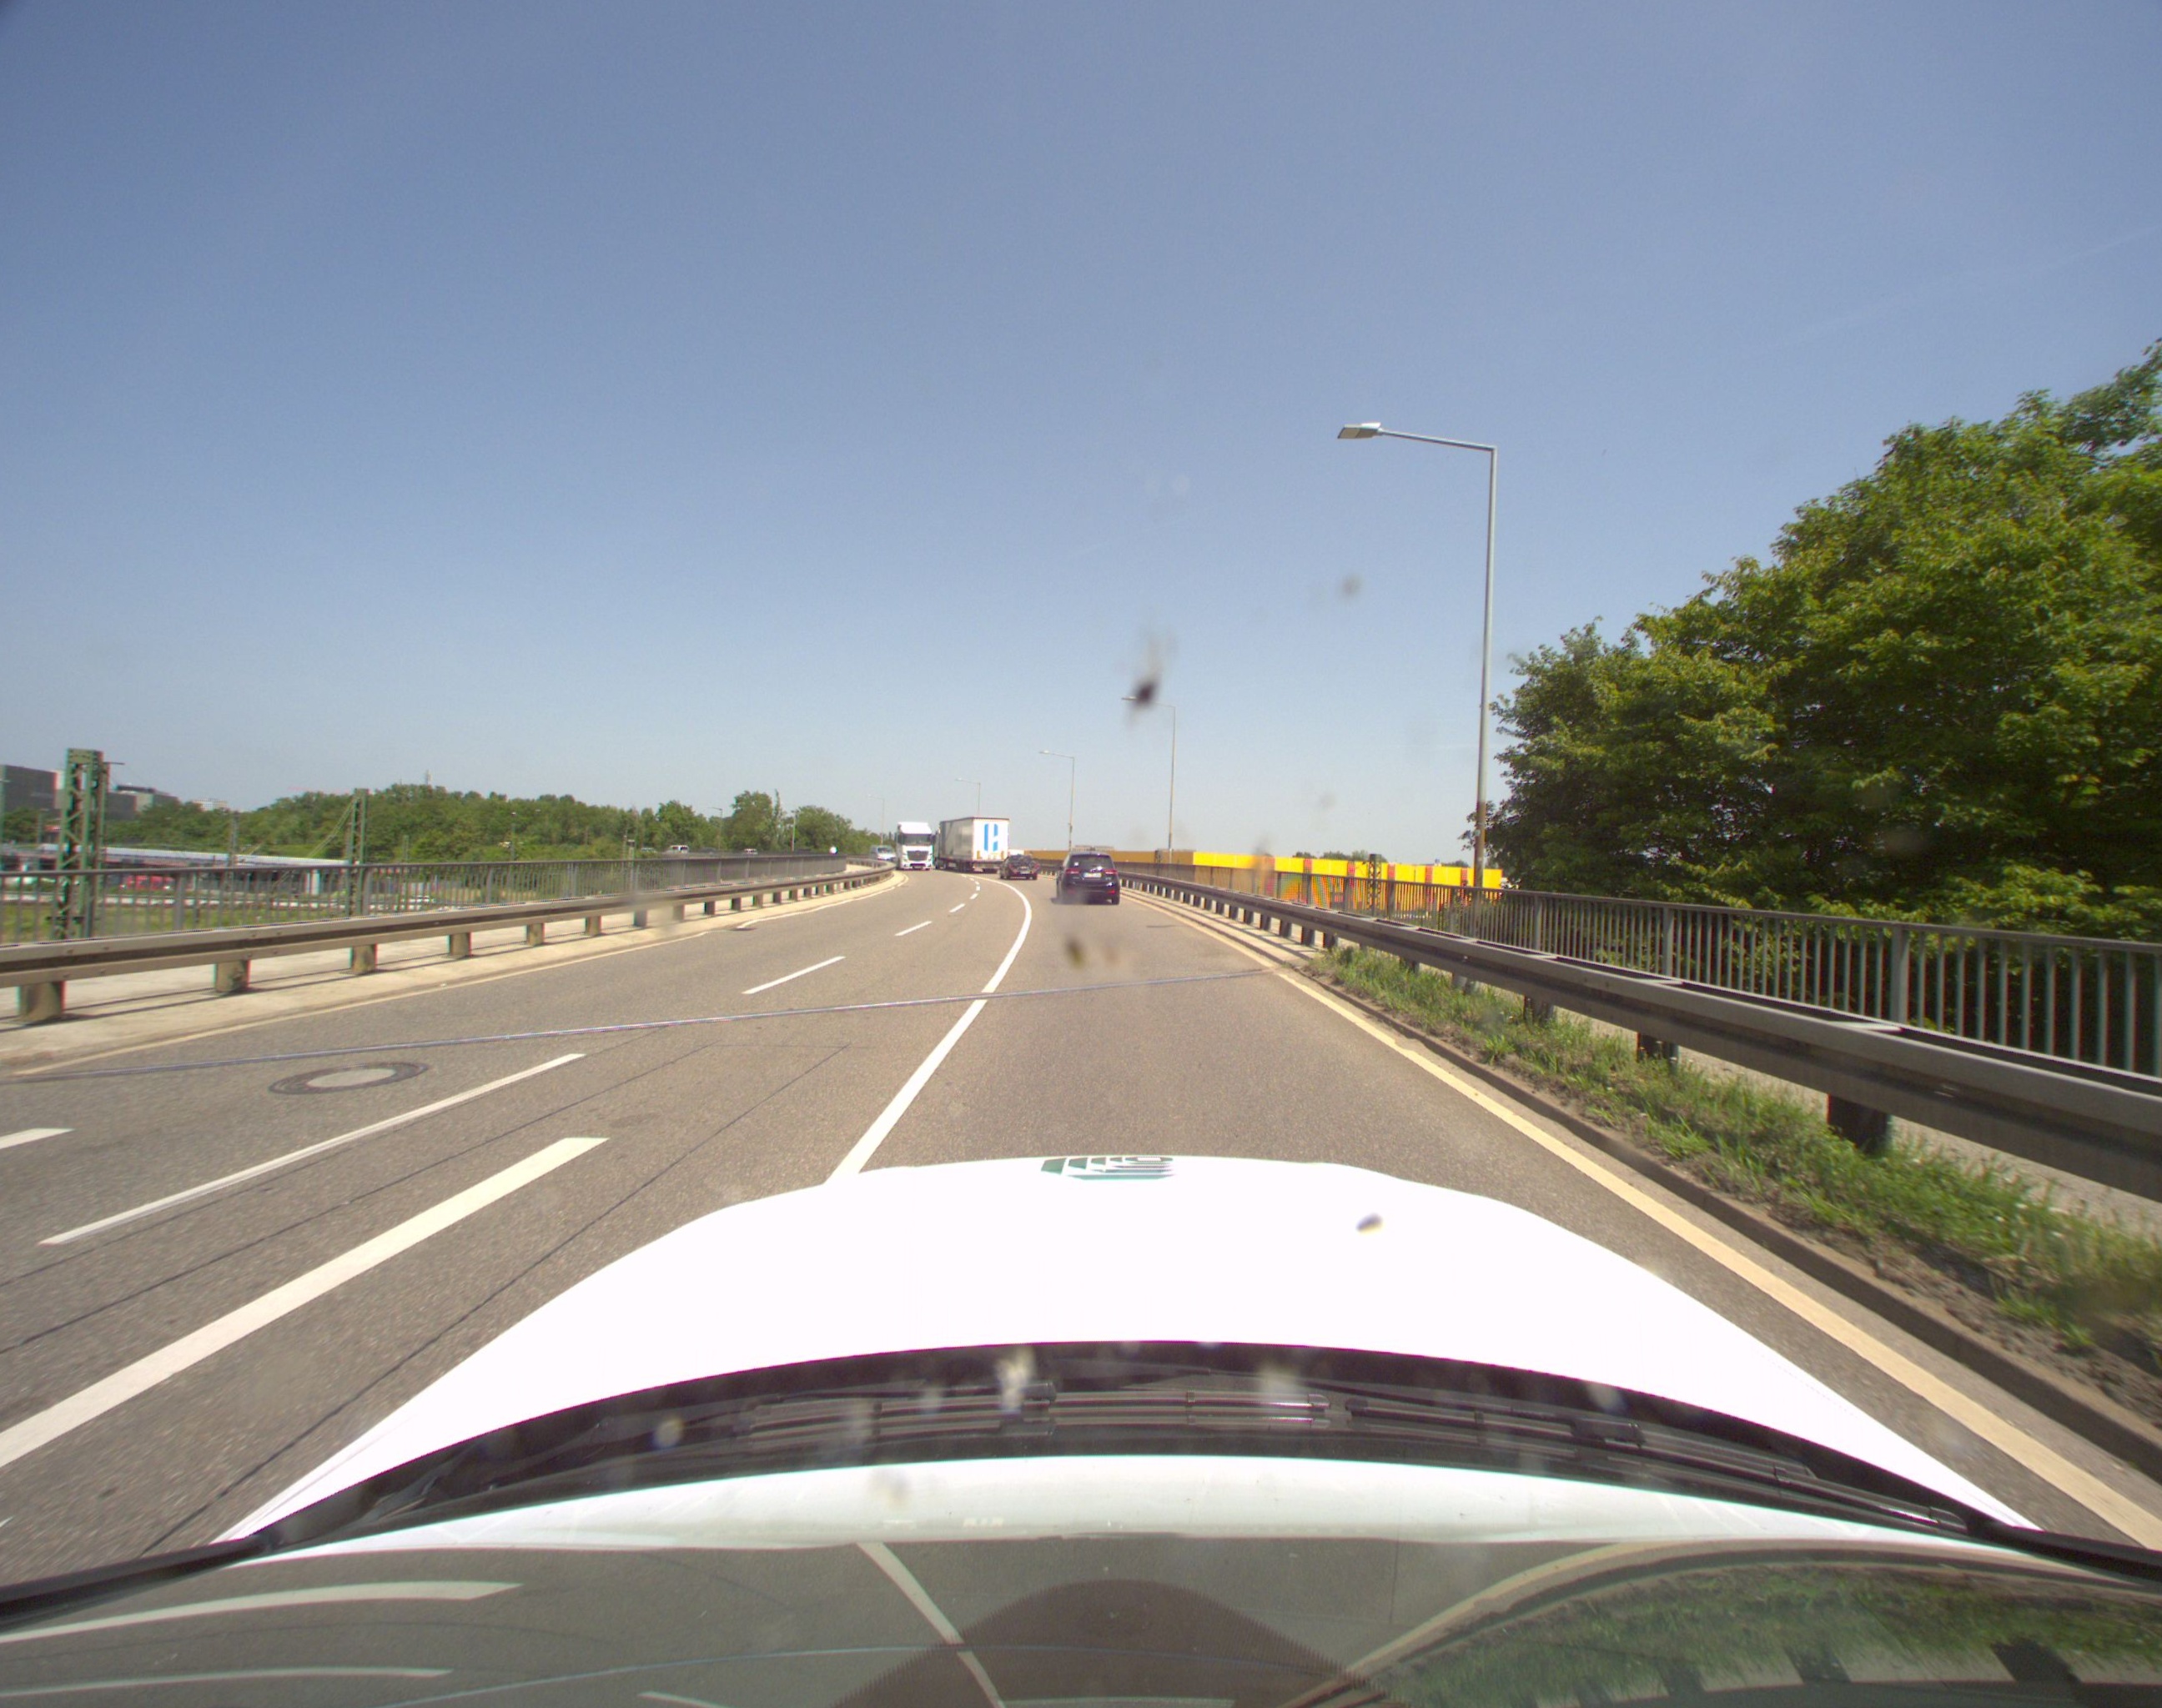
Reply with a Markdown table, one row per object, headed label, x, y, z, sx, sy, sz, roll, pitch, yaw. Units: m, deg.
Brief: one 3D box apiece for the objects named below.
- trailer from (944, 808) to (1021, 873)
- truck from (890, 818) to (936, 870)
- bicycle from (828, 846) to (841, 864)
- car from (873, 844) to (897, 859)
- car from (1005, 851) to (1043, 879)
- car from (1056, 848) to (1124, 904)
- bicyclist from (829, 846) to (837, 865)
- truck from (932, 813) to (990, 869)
| label | x | y | z | sx | sy | sz | roll | pitch | yaw |
| --- | --- | --- | --- | --- | --- | --- | --- | --- | --- |
| trailer | -7.663 | -0.986 | 61.502 | 3.580 | 4.384 | 11.370 | 2 | 0 | -18 |
| truck | -13.796 | -0.775 | 66.624 | 2.715 | 3.991 | 6.144 | 2 | 0 | -20 |
| bicycle | -24.333 | 0.089 | 80.373 | 0.702 | 1.801 | 2.160 | 2 | 0 | -29 |
| car | -18.660 | -0.228 | 77.523 | 1.566 | 1.386 | 3.587 | 2 | 0 | -24 |
| car | -3.256 | 0.583 | 45.812 | 2.009 | 1.429 | 3.769 | 2 | 0 | -6 |
| car | 0.200 | 0.632 | 25.535 | 1.917 | 1.574 | 3.888 | 2 | 0 | -3 |
| bicyclist | -24.654 | 0.128 | 80.897 | 0.628 | 1.886 | 0.705 | 2 | 0 | -30 |
| truck | -10.248 | -1.098 | 68.928 | 3.585 | 4.440 | 6.471 | 2 | 0 | -20 |
